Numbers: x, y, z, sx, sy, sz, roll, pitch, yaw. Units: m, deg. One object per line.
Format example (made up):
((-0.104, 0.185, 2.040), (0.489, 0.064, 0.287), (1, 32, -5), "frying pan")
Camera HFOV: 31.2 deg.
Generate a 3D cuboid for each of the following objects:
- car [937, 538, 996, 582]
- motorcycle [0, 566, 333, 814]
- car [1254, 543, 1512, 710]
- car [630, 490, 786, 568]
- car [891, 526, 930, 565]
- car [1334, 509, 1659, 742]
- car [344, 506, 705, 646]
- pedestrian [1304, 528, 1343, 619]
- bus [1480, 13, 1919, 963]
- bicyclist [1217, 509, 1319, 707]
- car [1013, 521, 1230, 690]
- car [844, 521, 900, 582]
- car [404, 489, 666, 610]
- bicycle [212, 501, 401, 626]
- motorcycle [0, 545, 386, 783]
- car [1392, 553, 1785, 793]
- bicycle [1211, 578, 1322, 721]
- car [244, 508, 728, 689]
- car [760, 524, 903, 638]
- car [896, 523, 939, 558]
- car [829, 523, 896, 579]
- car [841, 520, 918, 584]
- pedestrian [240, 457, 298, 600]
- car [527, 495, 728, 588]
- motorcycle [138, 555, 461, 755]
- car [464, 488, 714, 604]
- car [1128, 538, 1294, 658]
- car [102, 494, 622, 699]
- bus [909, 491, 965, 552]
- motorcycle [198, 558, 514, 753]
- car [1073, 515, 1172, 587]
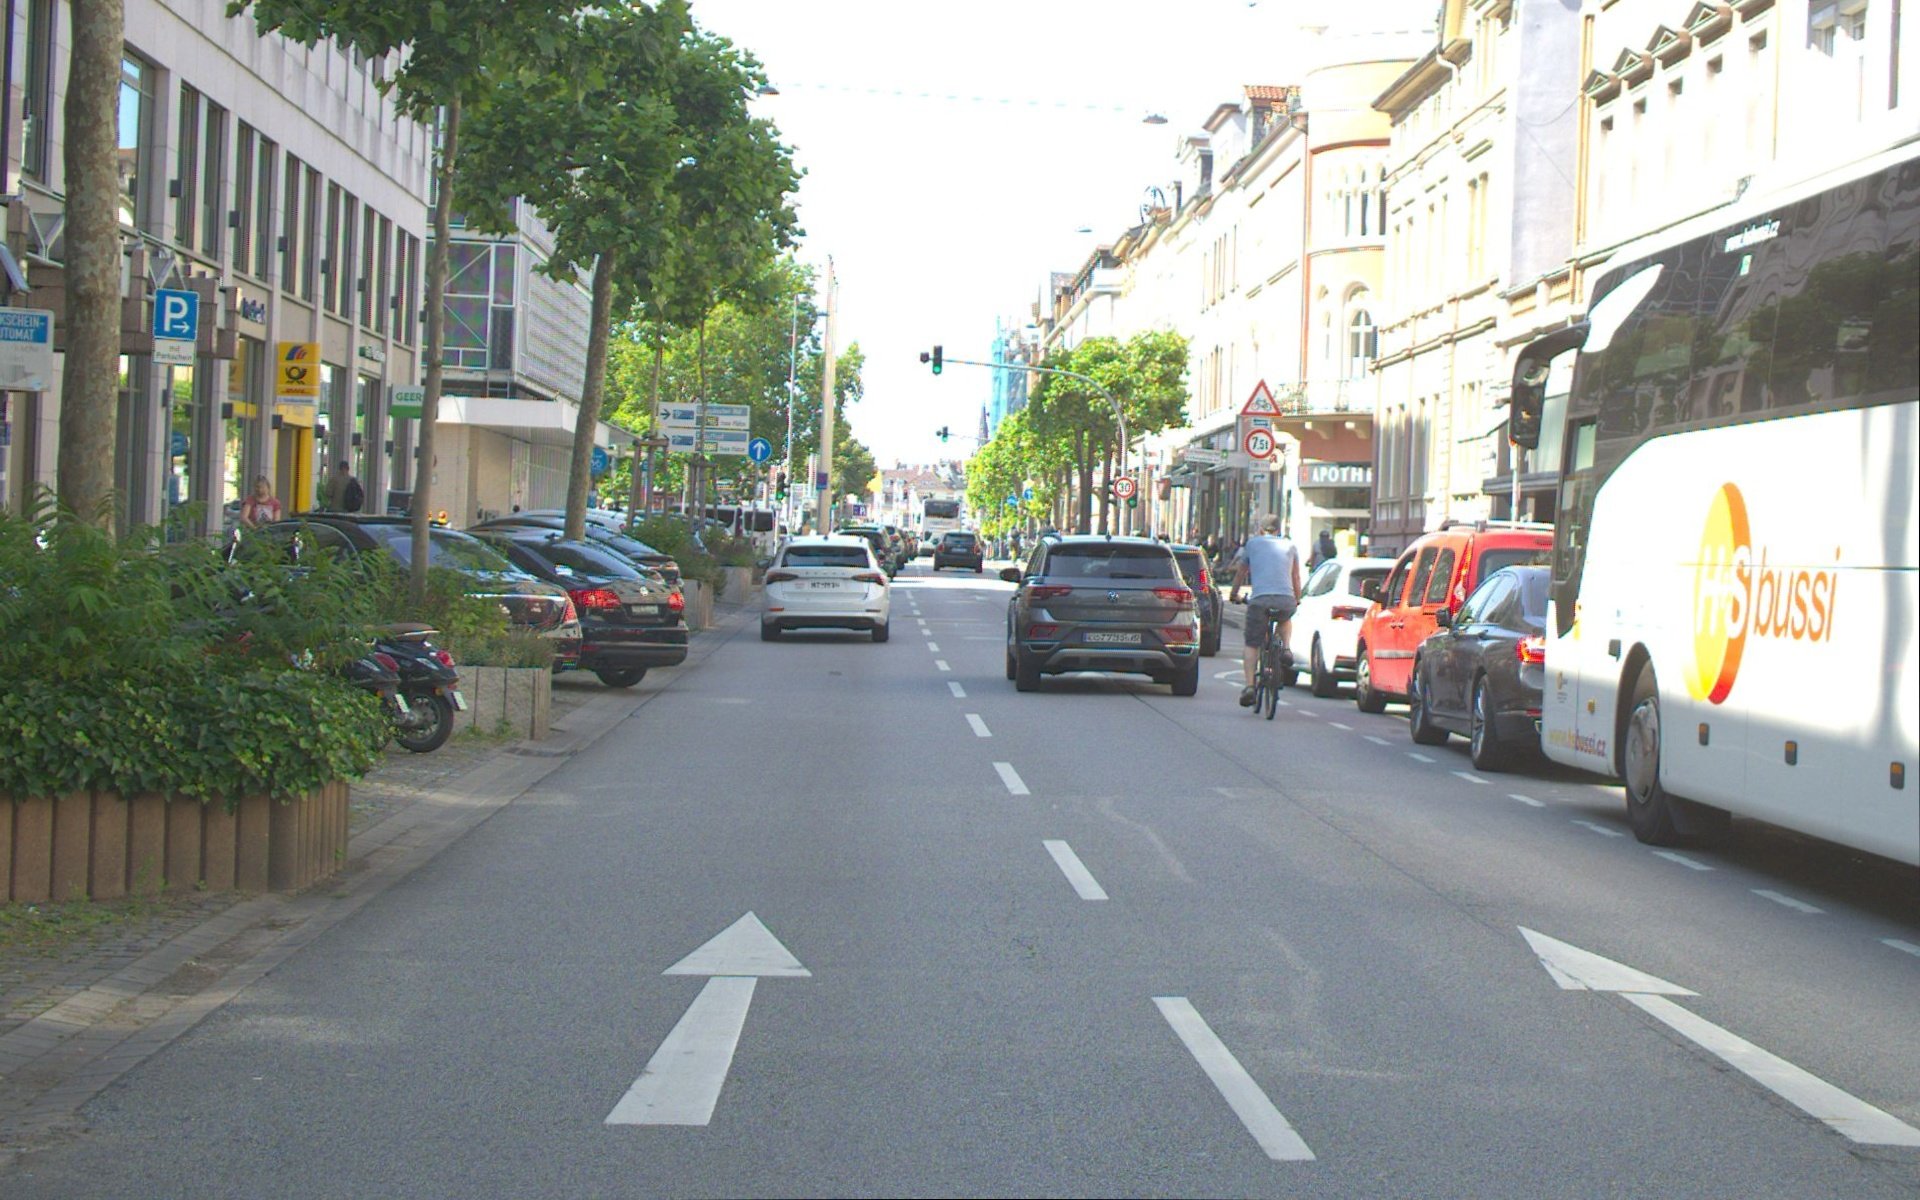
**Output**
((0.212, -1.432, 120.758), (1.863, 1.436, 4.001), (2, 1, -2), "car")
((-4.555, 0.452, 18.470), (2.176, 1.166, 0.919), (4, 2, 27), "motorcycle")
((4.452, 0.228, 36.862), (1.812, 1.461, 4.581), (4, 2, -4), "car")
((-7.992, -2.246, 108.727), (4.720, 1.996, 1.937), (6, 1, 39), "car")
((-2.553, -2.775, 175.425), (1.863, 1.843, 4.000), (1, -1, -2), "car")
((4.800, 0.162, 31.406), (1.827, 1.857, 4.355), (4, 1, -5), "car")
((-5.552, -0.324, 43.453), (4.648, 1.403, 1.902), (6, 3, 42), "car")
((7.292, -0.536, 68.968), (0.652, 1.803, 0.729), (2, 1, 2), "pedestrian")
((5.101, -0.430, 15.476), (2.881, 3.729, 12.428), (4, 1, -2), "bus")
((2.719, 0.055, 30.423), (0.694, 1.667, 0.916), (4, 2, 0), "bicyclist")
((1.556, 0.022, 34.501), (1.833, 1.522, 4.000), (3, 1, -1), "car")
((-3.148, -1.710, 122.263), (1.863, 2.023, 4.000), (3, 0, -2), "car")
((-6.783, -0.819, 55.161), (3.986, 1.495, 1.718), (6, 1, -5), "car")
((-7.631, -0.428, 40.218), (2.064, 1.284, 0.368), (5, 0, -8), "bicycle")
((-4.872, 0.356, 20.876), (2.347, 1.263, 1.292), (3, 2, 19), "motorcycle")
((4.577, 0.456, 25.867), (1.859, 1.465, 5.226), (4, 1, -1), "car")
((2.688, 0.411, 30.374), (0.664, 1.116, 2.243), (4, 2, -1), "bicycle")
((-4.723, -0.041, 33.835), (4.793, 1.417, 1.879), (5, 2, 39), "car")
((-1.834, -0.300, 48.210), (1.863, 1.436, 4.001), (2, 1, -3), "car")
((-1.953, -2.736, 158.409), (1.863, 1.436, 4.000), (1, -1, -2), "car")
((-2.677, -1.350, 93.964), (1.743, 1.436, 4.001), (2, 1, -2), "car")
((-1.944, -1.173, 82.112), (1.743, 1.436, 4.001), (2, 1, -2), "car")
((-8.118, -0.837, 40.407), (0.565, 1.651, 0.637), (2, 1, -7), "pedestrian")
((-6.924, -1.222, 71.873), (3.987, 1.495, 1.717), (6, 1, -3), "car")
((-4.289, 0.340, 22.328), (1.912, 1.166, 0.728), (3, 1, 19), "motorcycle")
((-6.644, -0.973, 61.556), (3.993, 1.563, 1.698), (8, 1, 24), "car")
((3.433, -0.051, 47.613), (1.822, 1.404, 3.187), (5, 2, -3), "car")
((-5.431, -0.060, 30.863), (4.754, 1.528, 1.985), (4, 2, 41), "car")
((-1.467, -4.890, 213.282), (2.769, 3.592, 8.975), (2, 1, -4), "bus")
((-4.046, 0.354, 23.037), (1.912, 1.166, 0.759), (3, 1, 19), "motorcycle")
((3.406, -1.050, 72.655), (1.822, 1.380, 4.001), (2, 2, 0), "car")
